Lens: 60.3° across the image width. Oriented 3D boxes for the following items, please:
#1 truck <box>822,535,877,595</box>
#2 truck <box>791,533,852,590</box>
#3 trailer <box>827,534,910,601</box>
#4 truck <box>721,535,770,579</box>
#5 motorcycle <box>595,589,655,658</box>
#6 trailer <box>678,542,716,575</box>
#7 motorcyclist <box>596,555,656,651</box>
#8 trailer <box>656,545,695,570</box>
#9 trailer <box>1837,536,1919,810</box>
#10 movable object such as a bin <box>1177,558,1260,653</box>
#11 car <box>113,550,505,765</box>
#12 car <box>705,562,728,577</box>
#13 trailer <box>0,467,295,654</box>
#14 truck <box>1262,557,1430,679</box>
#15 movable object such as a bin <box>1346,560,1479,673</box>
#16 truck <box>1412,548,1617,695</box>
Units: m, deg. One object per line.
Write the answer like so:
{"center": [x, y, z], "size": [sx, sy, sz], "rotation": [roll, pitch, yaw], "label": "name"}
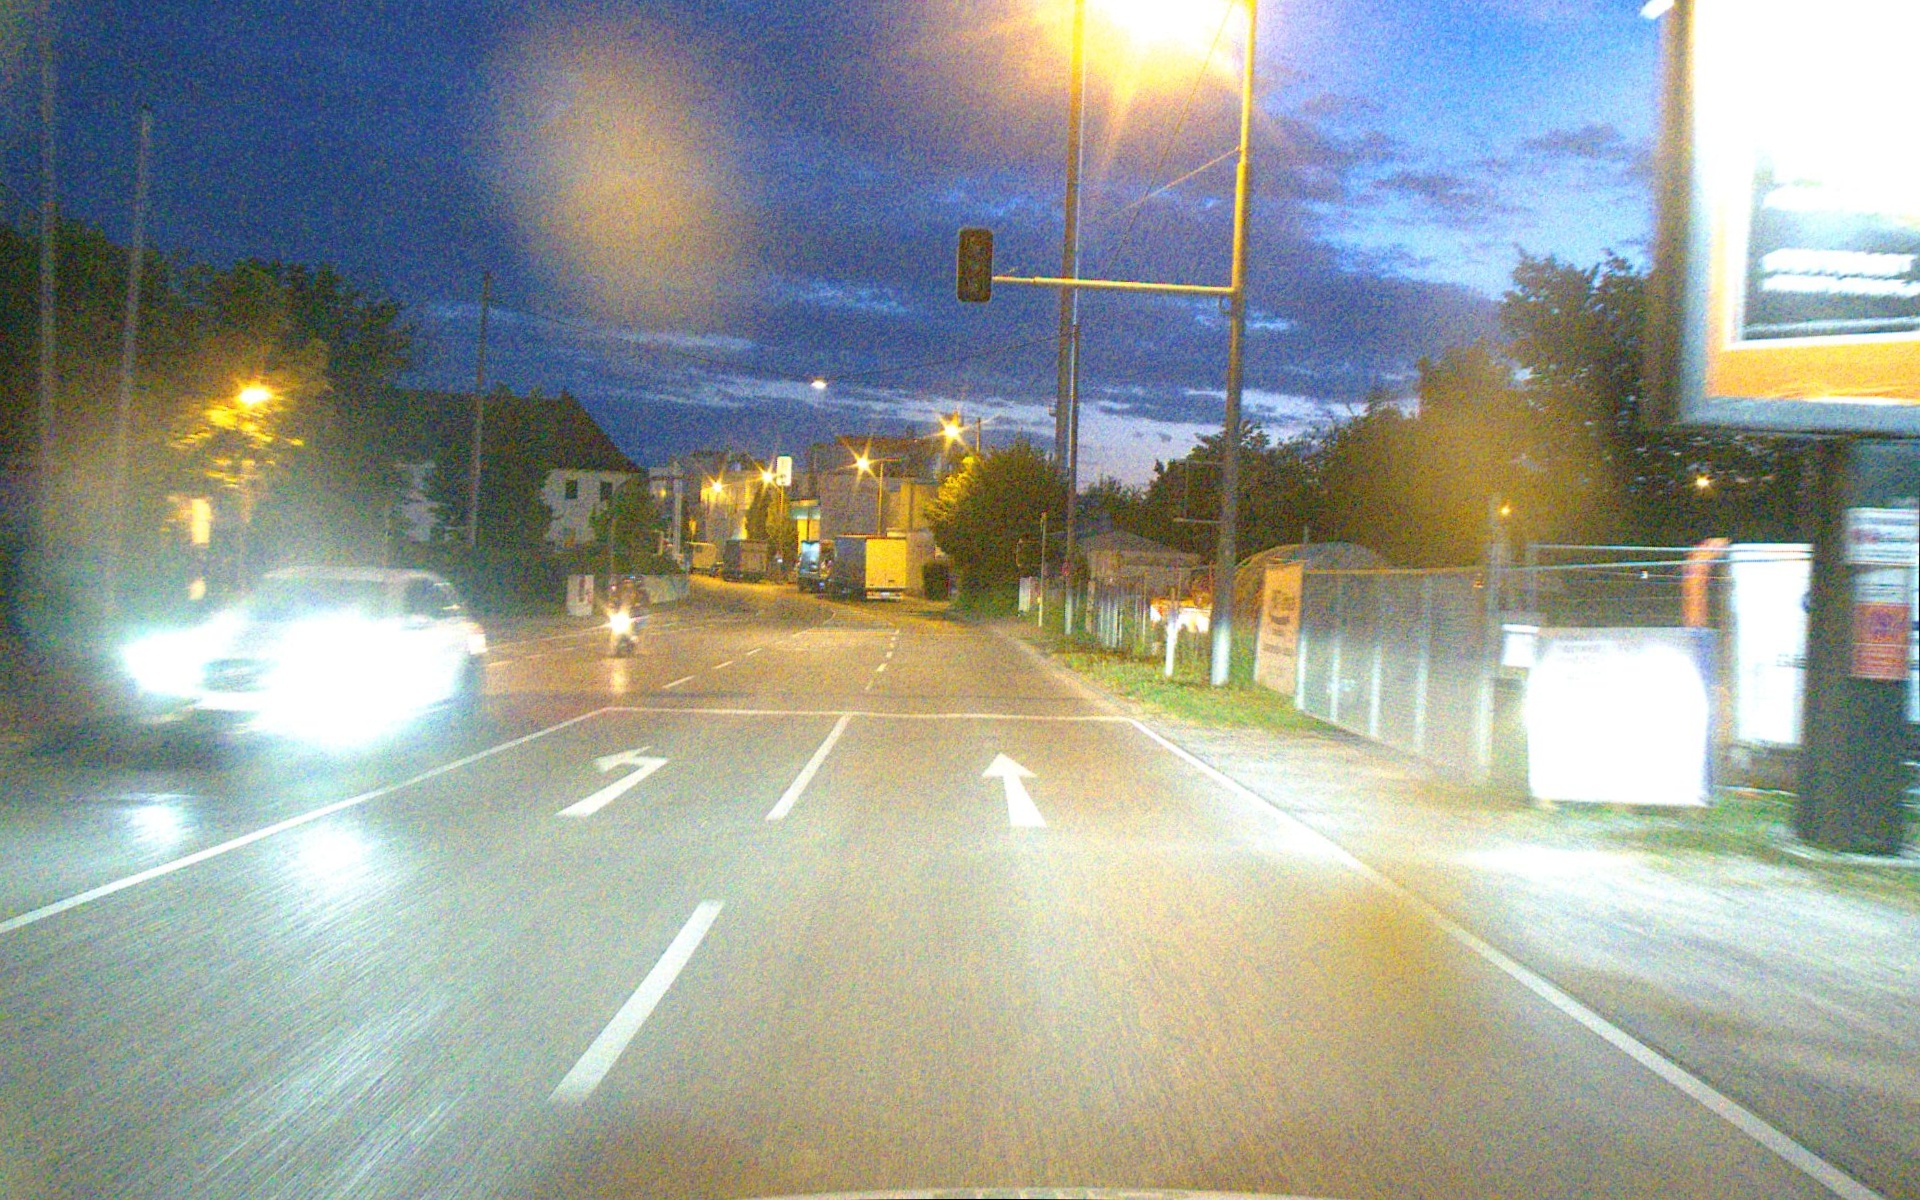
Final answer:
{"center": [-7.719, -2.448, 114.681], "size": [2.782, 4.052, 6.029], "rotation": [1, 1, -14], "label": "truck"}
{"center": [-10.538, -2.927, 125.109], "size": [2.783, 4.052, 10.302], "rotation": [1, 1, -15], "label": "truck"}
{"center": [-6.153, -2.163, 108.455], "size": [2.761, 4.052, 13.923], "rotation": [1, 1, -14], "label": "trailer"}
{"center": [-20.454, -4.085, 157.380], "size": [3.461, 4.052, 10.306], "rotation": [1, 1, -14], "label": "truck"}
{"center": [-6.963, 0.459, 34.467], "size": [0.978, 1.327, 2.822], "rotation": [2, 0, -8], "label": "motorcycle"}
{"center": [-29.269, -4.629, 184.055], "size": [2.647, 3.524, 7.764], "rotation": [2, 1, -20], "label": "trailer"}
{"center": [-6.956, 0.053, 34.481], "size": [1.113, 1.933, 0.832], "rotation": [2, 0, -8], "label": "motorcyclist"}
{"center": [-34.360, -5.138, 199.472], "size": [3.135, 2.796, 10.663], "rotation": [0, 1, -18], "label": "trailer"}
{"center": [8.842, 0.569, 12.549], "size": [3.671, 2.048, 1.614], "rotation": [1, 1, 23], "label": "trailer"}
{"center": [6.952, 0.133, 44.558], "size": [1.650, 2.424, 1.611], "rotation": [3, 0, -13], "label": "movable object such as a bin"}
{"center": [-5.901, 0.444, 15.726], "size": [1.954, 1.655, 4.750], "rotation": [2, 0, -2], "label": "car"}
{"center": [-25.303, -3.152, 171.909], "size": [1.823, 1.545, 3.800], "rotation": [0, 1, -17], "label": "car"}
{"center": [-12.971, -0.617, 25.951], "size": [4.261, 2.767, 1.999], "rotation": [1, 1, -3], "label": "trailer"}
{"center": [8.832, 0.331, 38.676], "size": [2.139, 2.465, 7.316], "rotation": [3, 1, 0], "label": "truck"}
{"center": [11.931, 0.387, 43.884], "size": [2.183, 2.772, 3.863], "rotation": [3, 1, -4], "label": "movable object such as a bin"}
{"center": [11.942, 0.397, 36.281], "size": [2.138, 2.796, 7.318], "rotation": [3, 0, 2], "label": "truck"}
